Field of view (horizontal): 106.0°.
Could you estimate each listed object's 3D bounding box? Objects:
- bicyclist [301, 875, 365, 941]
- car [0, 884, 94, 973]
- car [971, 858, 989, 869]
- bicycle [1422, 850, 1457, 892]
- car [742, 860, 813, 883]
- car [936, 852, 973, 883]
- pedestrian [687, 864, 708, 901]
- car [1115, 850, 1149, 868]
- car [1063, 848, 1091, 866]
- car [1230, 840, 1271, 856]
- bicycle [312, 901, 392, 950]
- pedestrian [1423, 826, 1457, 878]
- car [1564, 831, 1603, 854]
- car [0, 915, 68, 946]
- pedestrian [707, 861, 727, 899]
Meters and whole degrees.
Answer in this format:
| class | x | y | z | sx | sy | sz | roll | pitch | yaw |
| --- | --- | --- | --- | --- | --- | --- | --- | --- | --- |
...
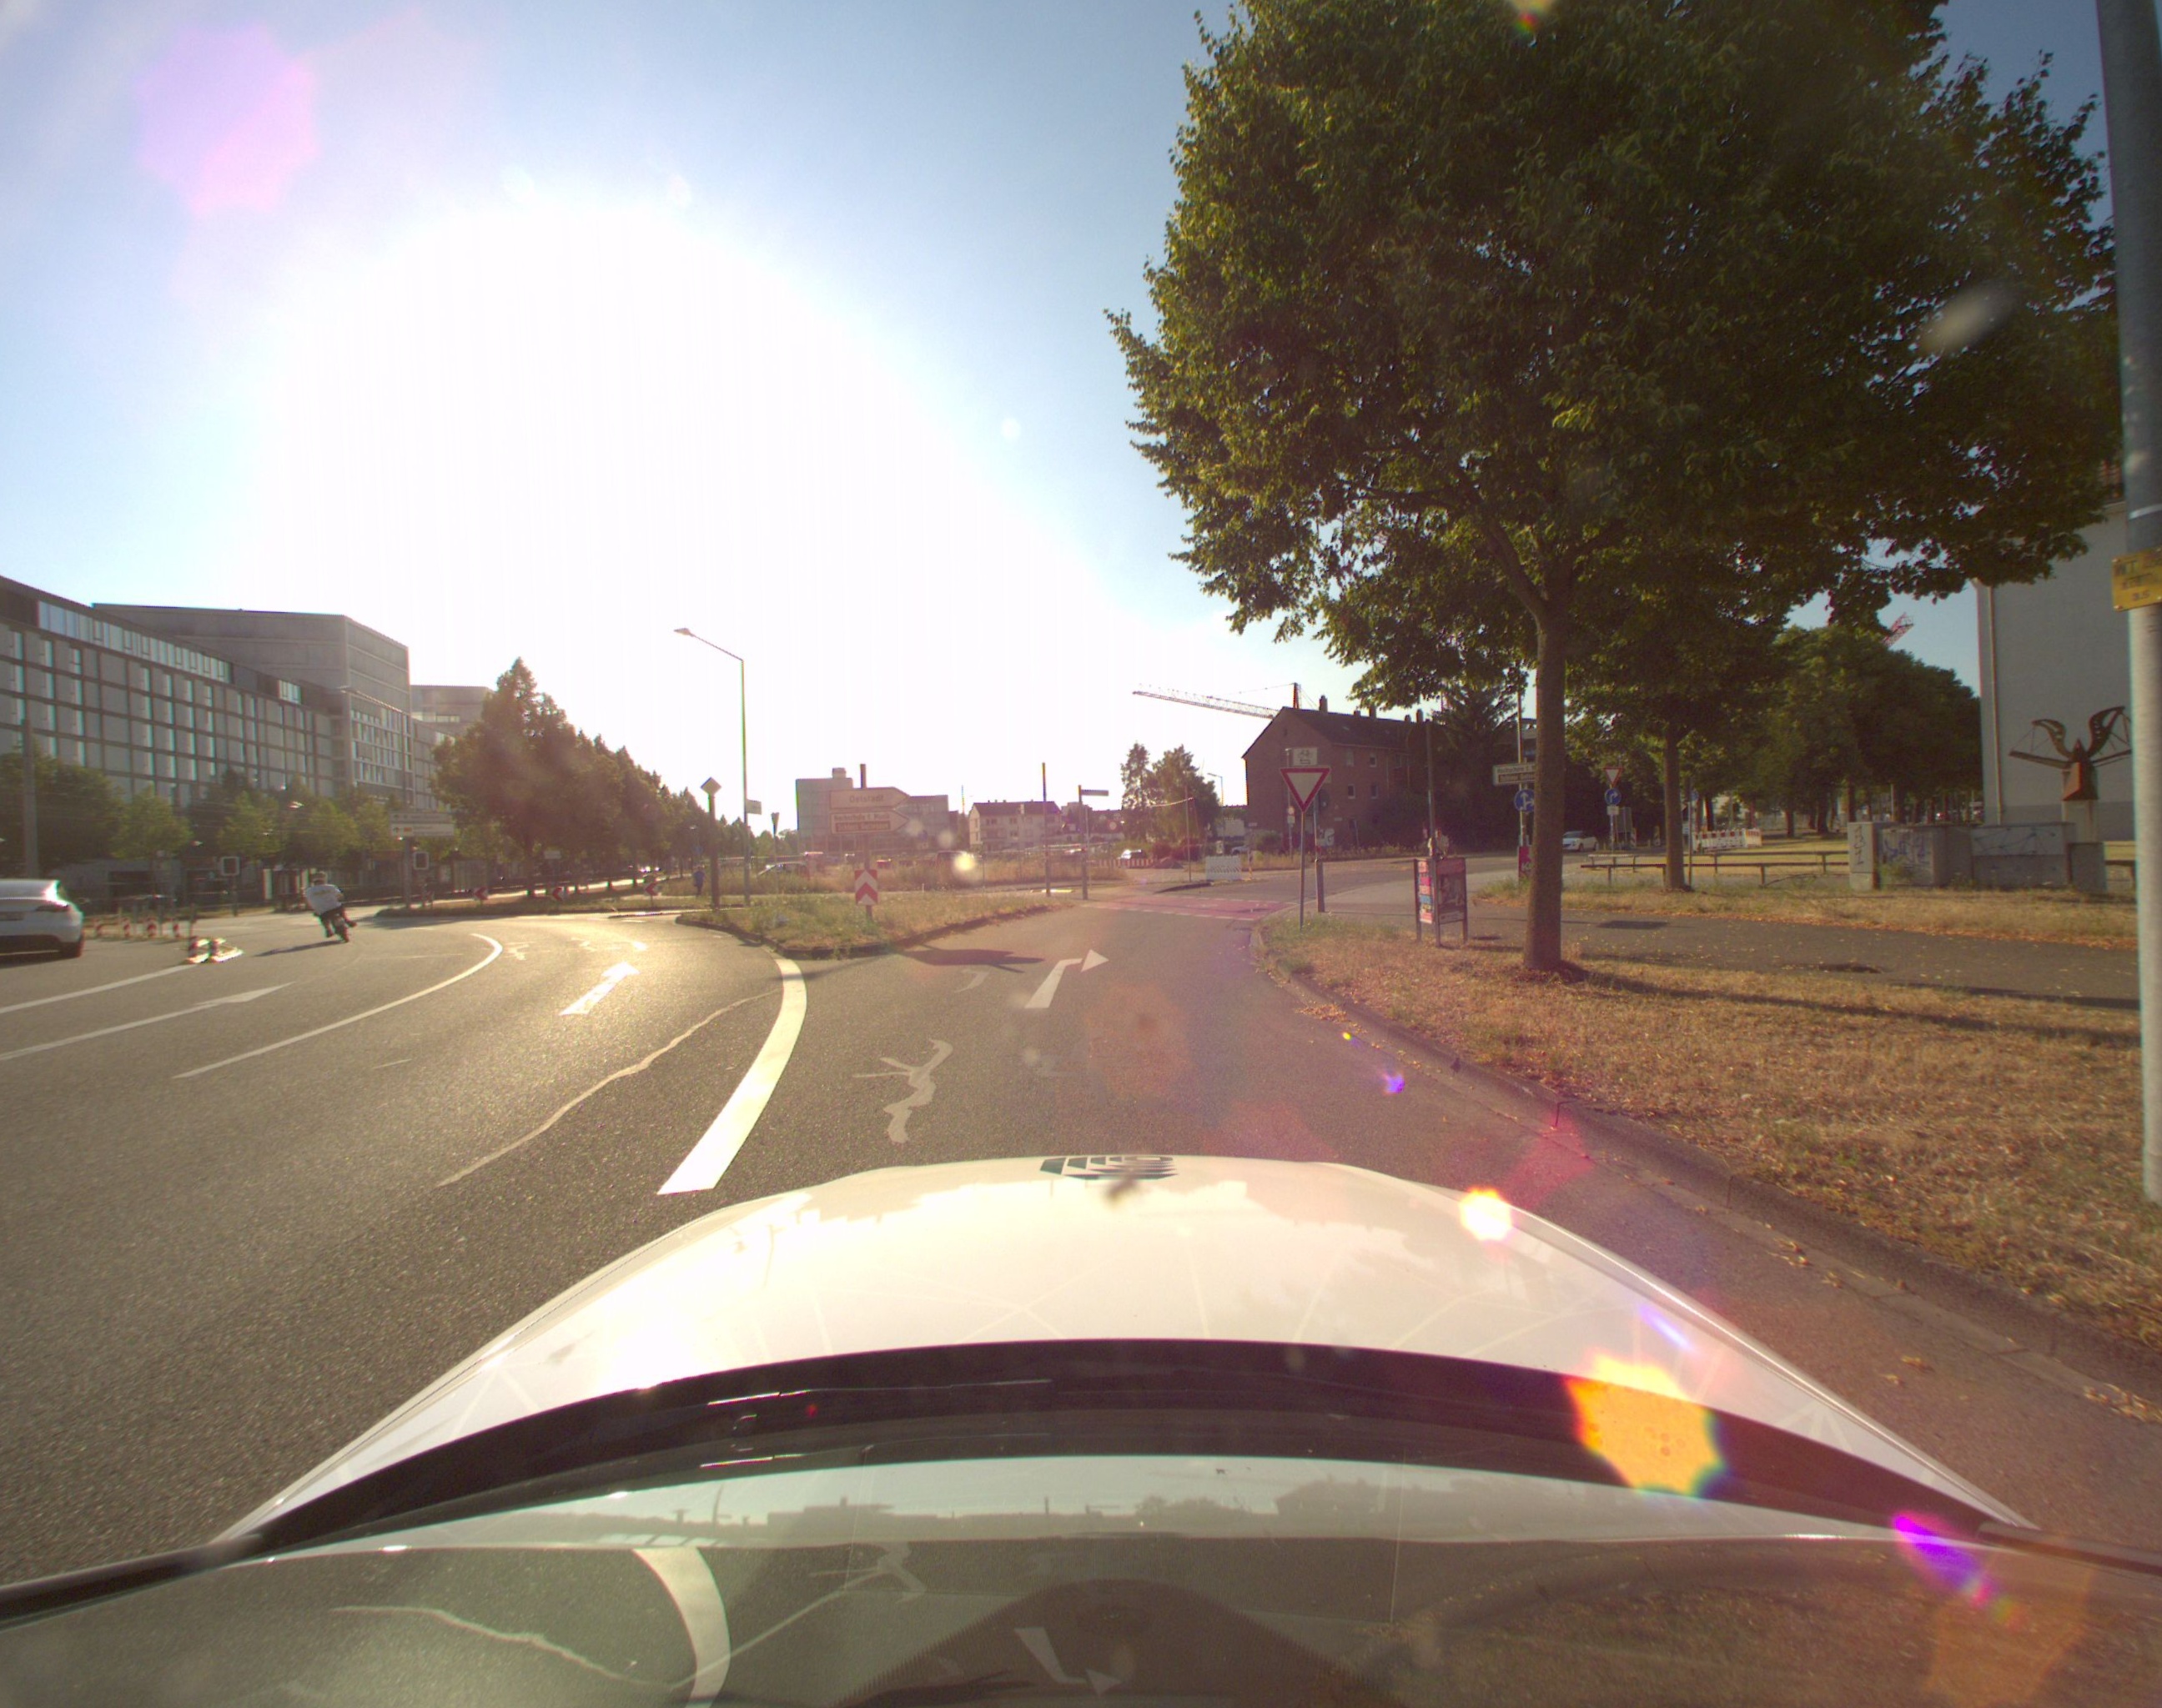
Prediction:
| class | x | y | z | sx | sy | sz | roll | pitch | yaw |
| --- | --- | --- | --- | --- | --- | --- | --- | --- | --- |
| bicyclist | -16.868 | 1.195 | 18.383 | 0.871 | 1.410 | 0.624 | -2 | 0 | -22 |
| car | -21.479 | 1.459 | 16.383 | 3.948 | 1.574 | 2.013 | -2 | 0 | 40 |
| car | -17.656 | 1.655 | 141.666 | 2.153 | 1.838 | 4.332 | -2 | 0 | -20 |
| bicycle | 10.112 | 0.468 | 22.916 | 0.527 | 1.055 | 1.926 | -2 | 1 | 34 |
| car | -20.677 | 1.173 | 55.503 | 4.257 | 1.363 | 1.981 | -3 | 0 | -30 |
| car | -8.968 | 0.920 | 58.098 | 1.989 | 2.013 | 5.308 | -3 | 0 | -3 |
| pedestrian | -18.237 | 1.333 | 38.729 | 0.787 | 1.708 | 0.806 | -3 | 0 | -23 |
| car | 4.902 | 0.478 | 78.735 | 1.999 | 1.552 | 3.976 | -3 | 0 | -18 |
| car | -0.463 | 0.405 | 94.080 | 1.870 | 1.947 | 3.971 | -3 | 0 | -22 |
| car | 18.206 | -0.613 | 87.476 | 3.953 | 1.530 | 2.010 | -3 | 0 | 21 |
| bicycle | -16.543 | 1.602 | 18.536 | 0.852 | 0.928 | 1.705 | -2 | 0 | -25 |
| pedestrian | 10.058 | -0.063 | 22.830 | 0.644 | 1.391 | 0.772 | -4 | -1 | 36 |
| car | 34.594 | -0.815 | 56.005 | 1.742 | 1.421 | 3.648 | -1 | 2 | 40 |
| car | -63.760 | 4.619 | 48.989 | 1.557 | 1.574 | 3.331 | -3 | 0 | -7 |
| pedestrian | -17.717 | 1.263 | 39.660 | 0.760 | 1.775 | 0.766 | -3 | 0 | -22 |
